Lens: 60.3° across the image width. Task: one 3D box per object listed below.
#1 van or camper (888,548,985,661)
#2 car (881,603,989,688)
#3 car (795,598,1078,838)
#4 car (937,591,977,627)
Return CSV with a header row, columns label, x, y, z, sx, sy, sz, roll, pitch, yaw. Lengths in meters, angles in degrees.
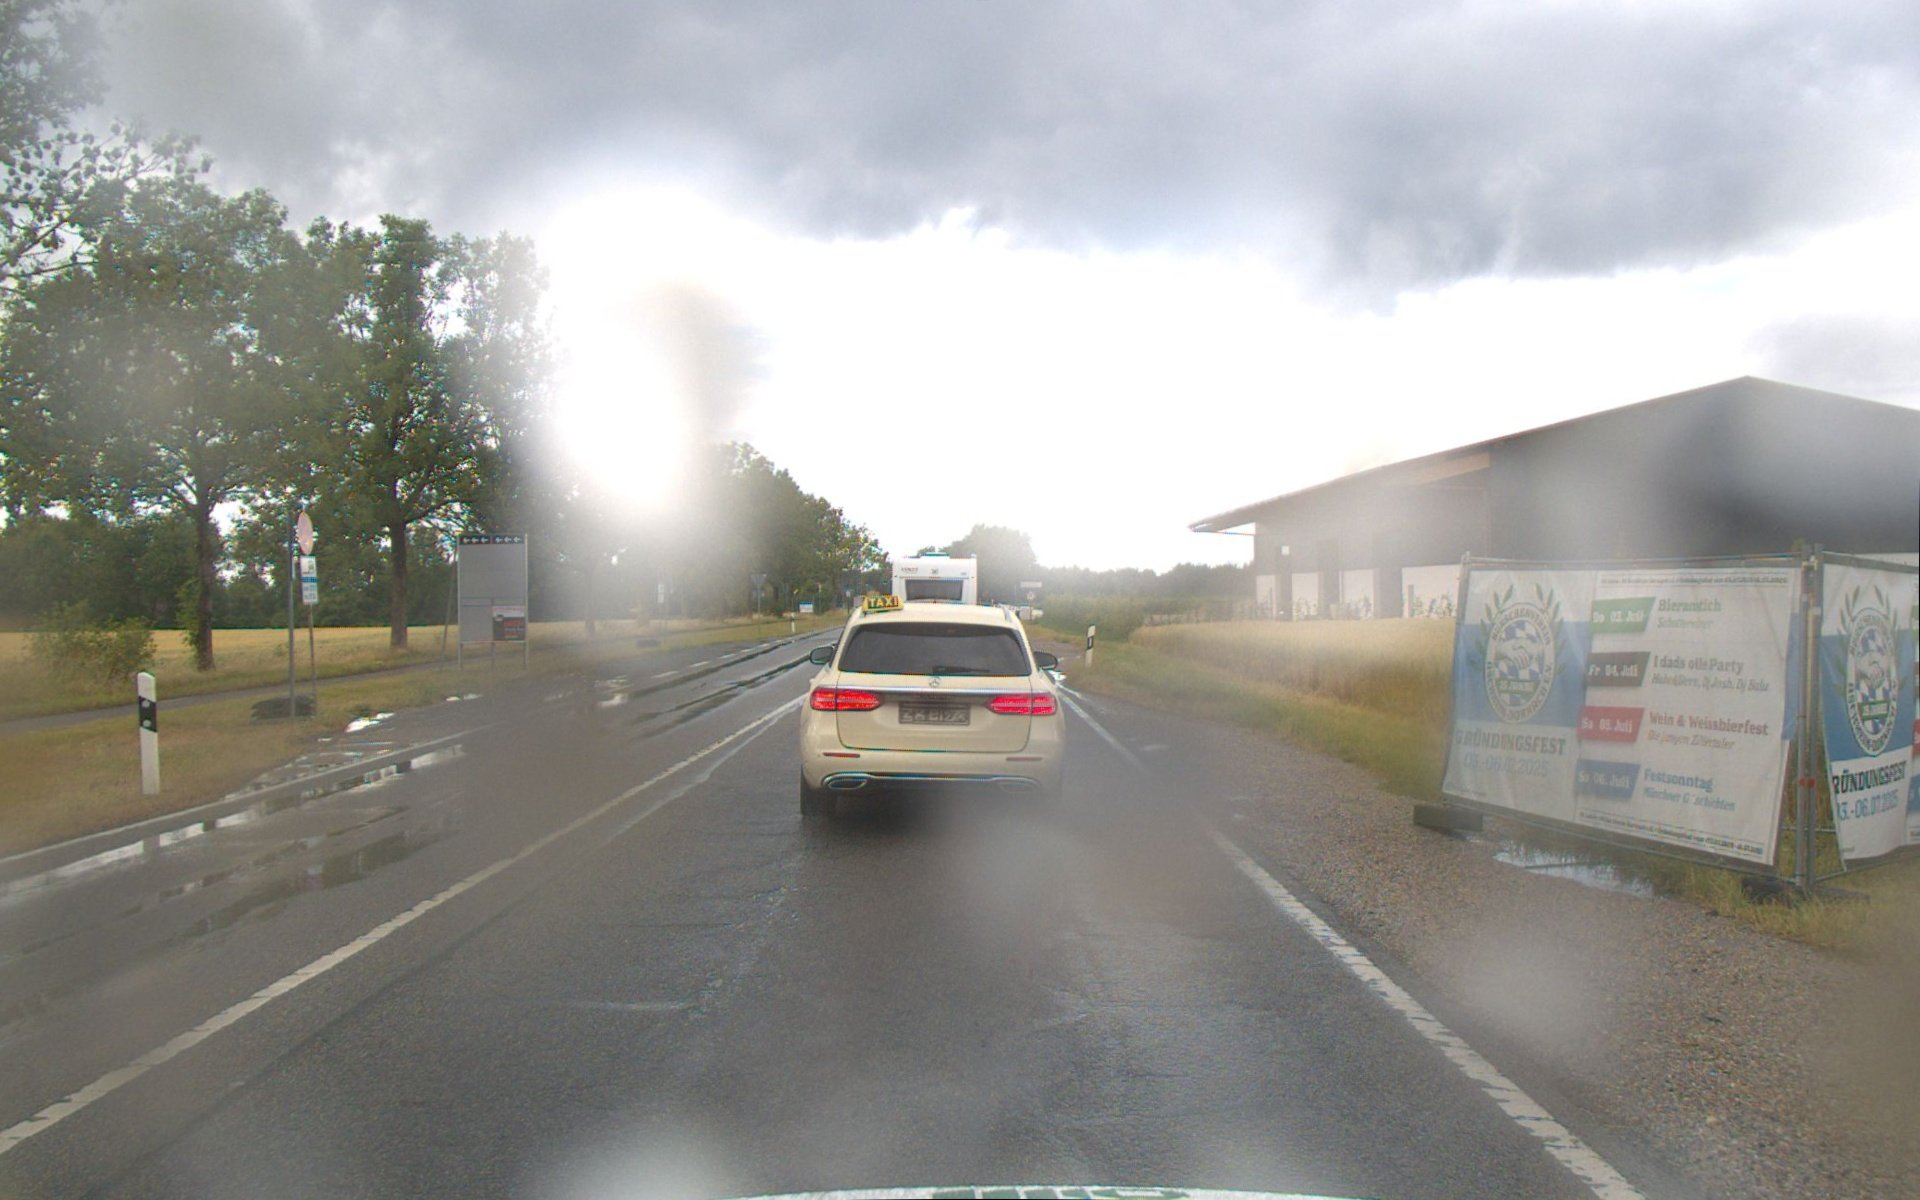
label,x,y,z,sx,sy,sz,roll,pitch,yaw
van or camper,-0.591,0.122,45.954,2.446,2.880,5.934,-2,0,0
car,-0.466,0.786,30.456,1.856,1.454,3.927,0,0,-1
car,-0.146,0.736,12.335,1.760,1.490,4.030,0,0,0
car,-0.156,0.416,77.623,1.856,1.618,3.927,0,0,-1
